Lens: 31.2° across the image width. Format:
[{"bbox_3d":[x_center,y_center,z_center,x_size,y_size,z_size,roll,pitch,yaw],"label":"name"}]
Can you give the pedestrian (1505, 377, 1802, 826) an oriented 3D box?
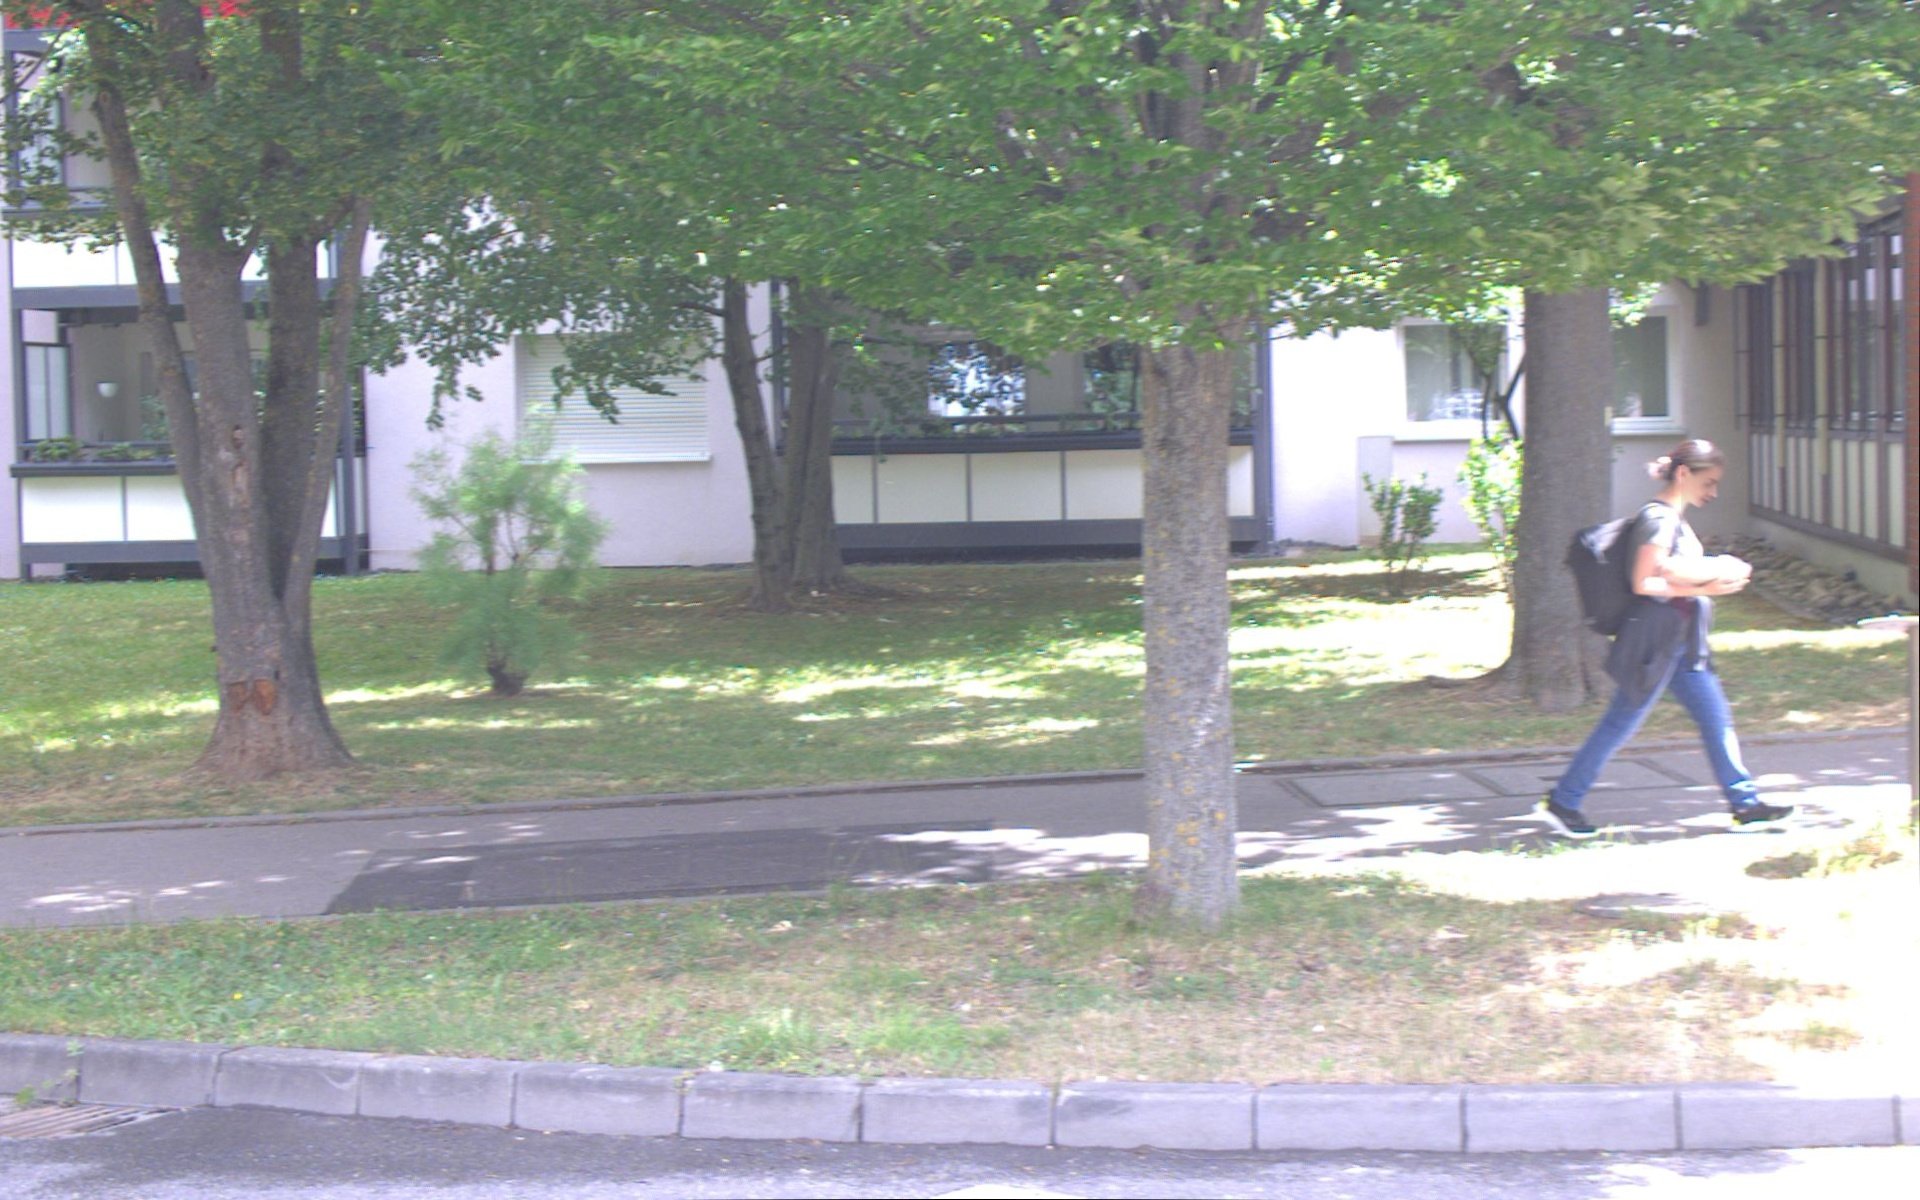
[{"bbox_3d":[2.582,-0.007,12.865,0.838,1.573,0.721,-4,2,-2],"label":"pedestrian"}]
